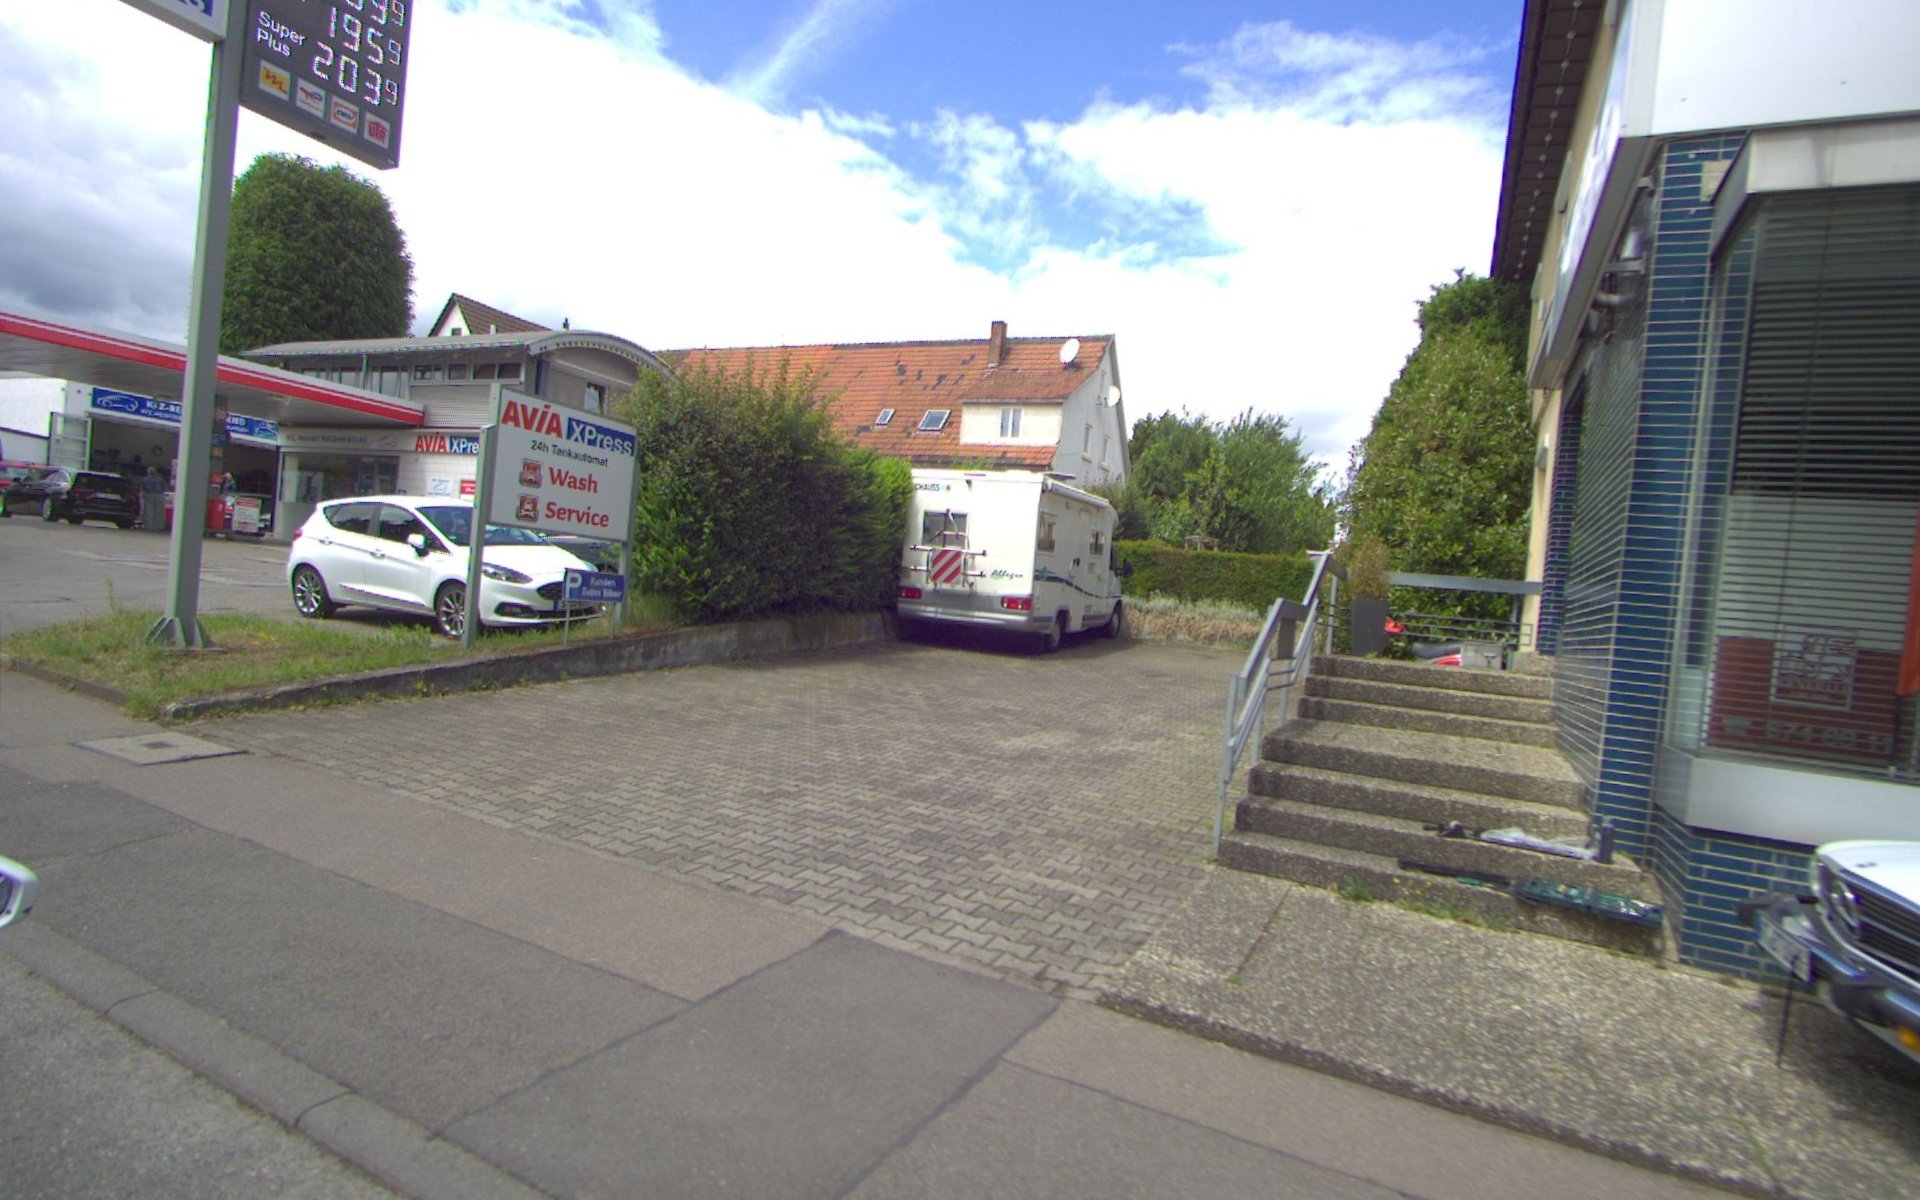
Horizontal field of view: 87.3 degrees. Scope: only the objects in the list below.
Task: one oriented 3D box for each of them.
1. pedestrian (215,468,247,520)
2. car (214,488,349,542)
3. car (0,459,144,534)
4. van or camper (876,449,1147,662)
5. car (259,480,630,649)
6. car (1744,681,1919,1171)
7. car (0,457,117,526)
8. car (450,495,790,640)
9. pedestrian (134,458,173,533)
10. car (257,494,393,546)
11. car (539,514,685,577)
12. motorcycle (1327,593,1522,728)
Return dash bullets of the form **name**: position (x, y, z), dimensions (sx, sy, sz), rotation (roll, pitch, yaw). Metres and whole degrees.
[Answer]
- **pedestrian**: position (-28.677, -4.152, 39.563), dimensions (0.664, 1.867, 0.682), rotation (6, 0, -17)
- **car**: position (-24.905, -3.084, 37.025), dimensions (1.593, 1.461, 3.744), rotation (11, 5, 29)
- **car**: position (-24.066, -2.805, 27.055), dimensions (4.492, 1.628, 1.633), rotation (6, 0, 29)
- **van or camper**: position (1.173, -0.771, 17.369), dimensions (2.486, 2.892, 5.962), rotation (7, 4, 24)
- **car**: position (-6.060, -0.475, 11.769), dimensions (4.128, 1.550, 1.635), rotation (6, 4, 24)
- **car**: position (5.066, 1.193, 2.577), dimensions (4.400, 1.333, 1.788), rotation (6, 1, 24)
- **car**: position (-30.466, -3.627, 32.647), dimensions (4.580, 1.737, 1.803), rotation (8, -1, -44)
- **car**: position (-4.793, -0.514, 14.054), dimensions (4.574, 1.564, 1.713), rotation (6, 4, 25)
- **pedestrian**: position (-22.220, -2.866, 27.731), dimensions (0.580, 1.959, 0.537), rotation (6, 0, -26)
- **car**: position (-22.499, -2.797, 35.758), dimensions (1.685, 1.479, 3.747), rotation (3, 1, 26)
- **car**: position (-9.743, -1.492, 28.440), dimensions (1.594, 1.479, 3.745), rotation (4, 1, 30)
- **motorcycle**: position (5.104, 0.631, 11.133), dimensions (1.875, 1.331, 0.401), rotation (3, 5, 29)
